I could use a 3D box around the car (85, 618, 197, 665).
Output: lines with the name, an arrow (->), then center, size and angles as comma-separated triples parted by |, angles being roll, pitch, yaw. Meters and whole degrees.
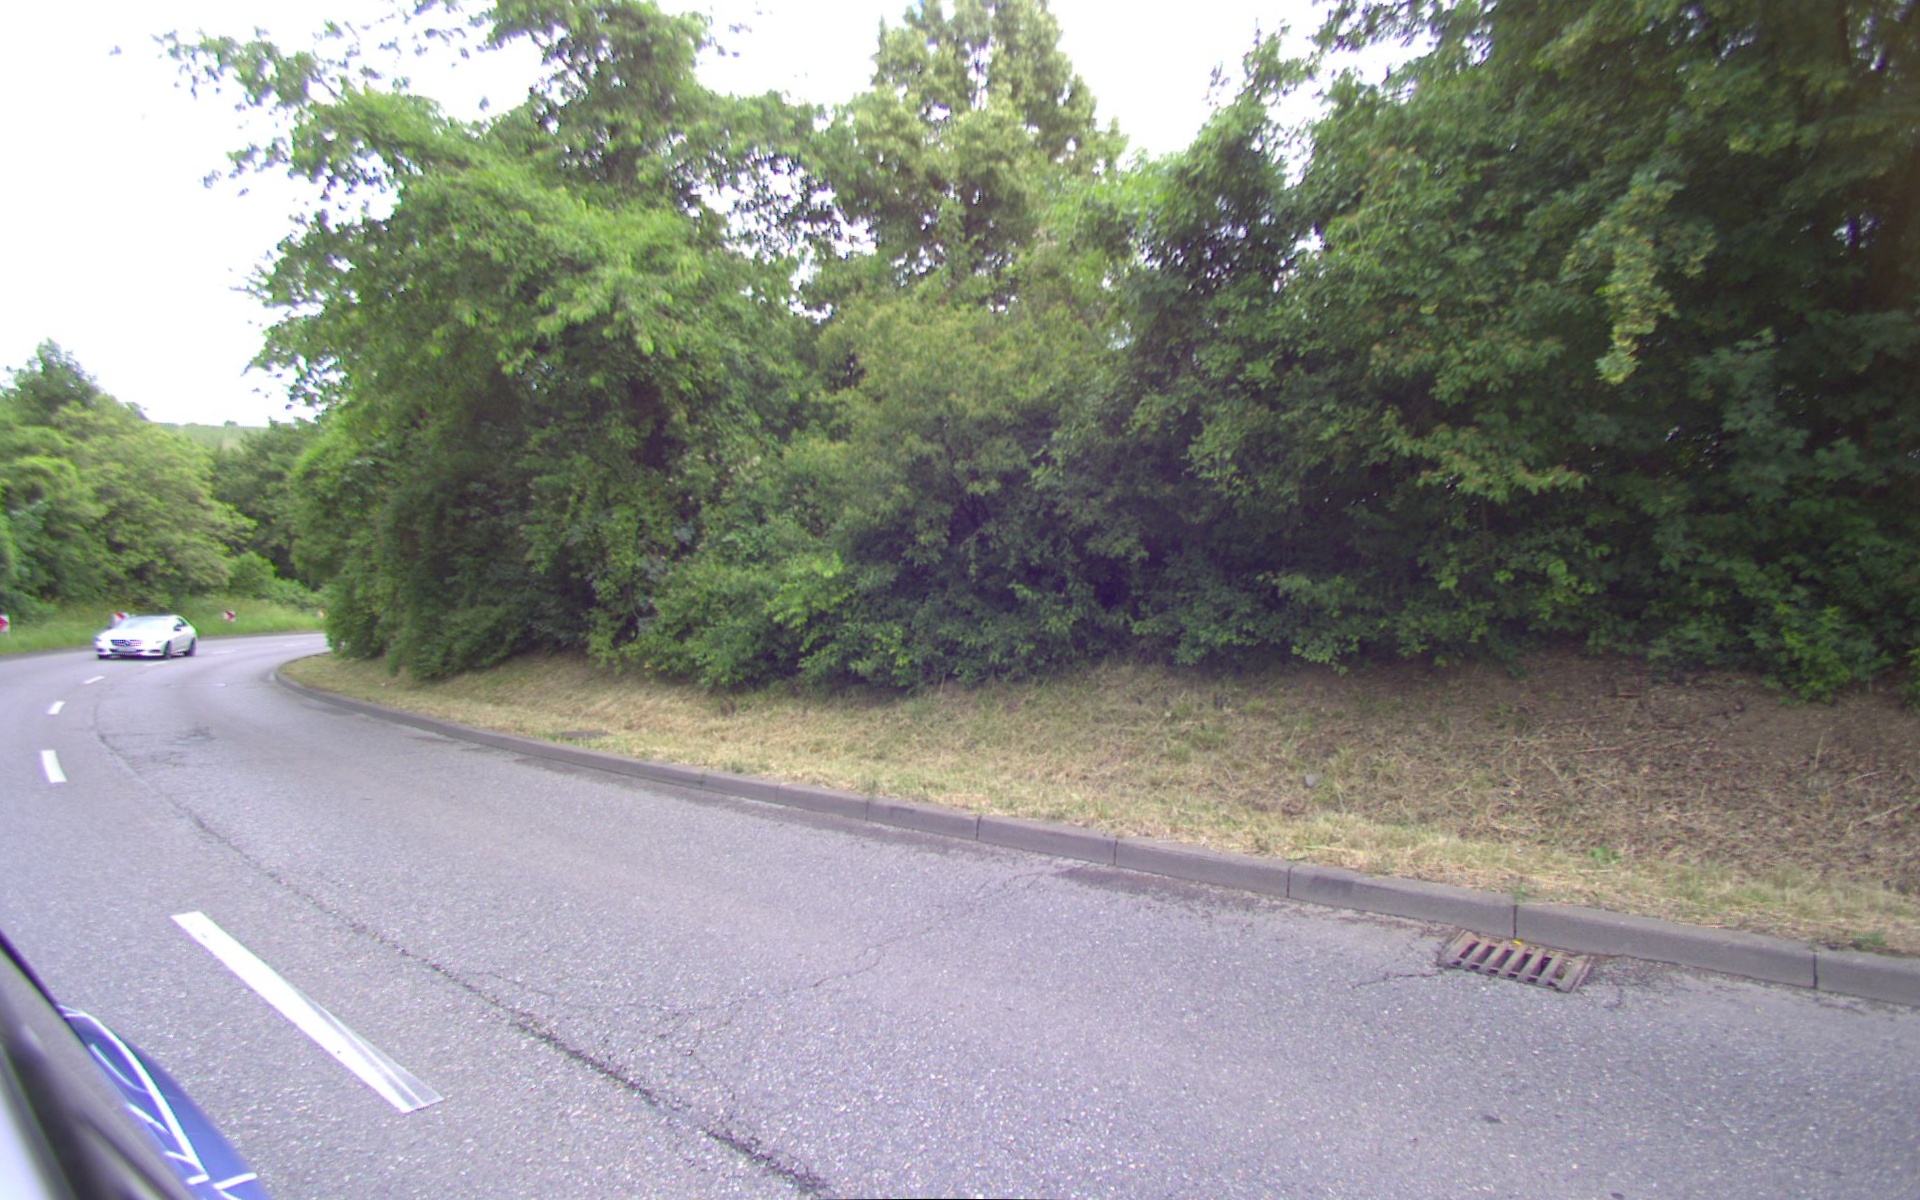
car -> -27.635, 1.365, 34.311 | 1.835, 1.442, 4.370 | 2, -2, -24
